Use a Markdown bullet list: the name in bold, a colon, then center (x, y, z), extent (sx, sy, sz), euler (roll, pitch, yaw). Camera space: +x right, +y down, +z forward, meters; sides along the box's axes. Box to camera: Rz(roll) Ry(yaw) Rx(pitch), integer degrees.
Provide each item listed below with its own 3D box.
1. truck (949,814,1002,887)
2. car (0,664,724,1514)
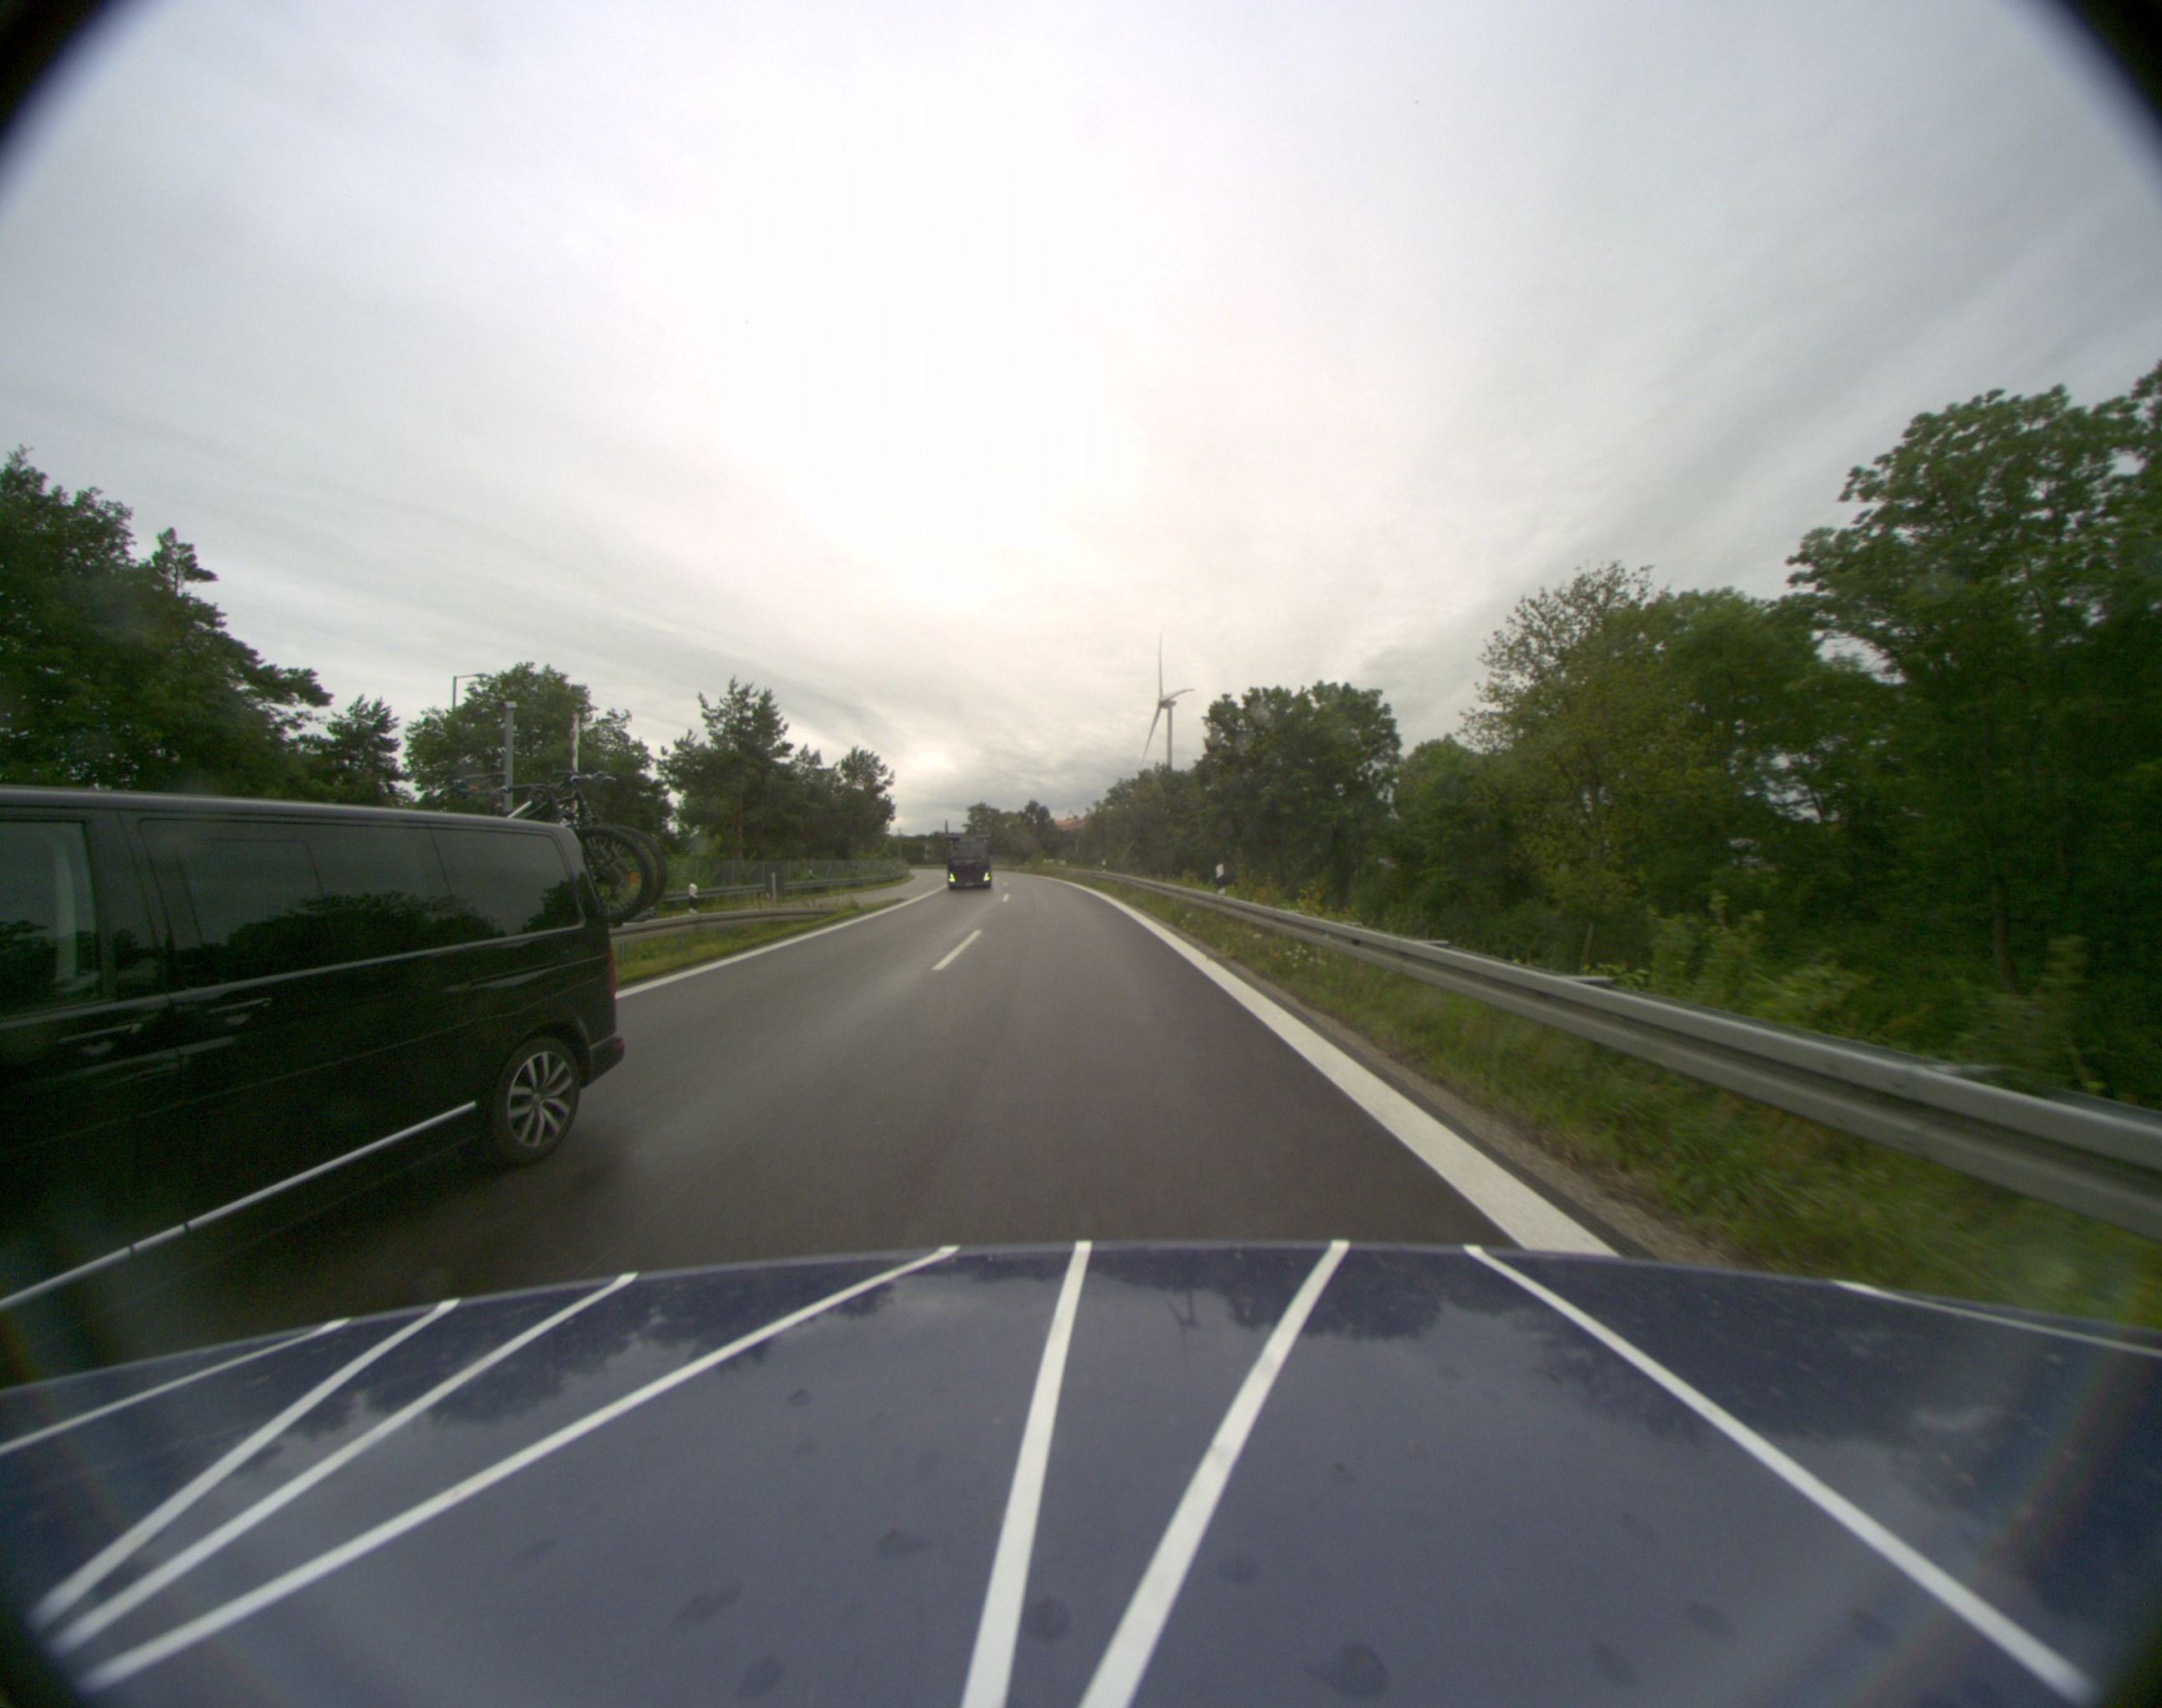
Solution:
- **truck**: center (-6.410, -0.189, 46.692), extent (2.747, 3.944, 9.122), euler (-3, 0, -7)
- **car**: center (-3.939, 0.657, 3.030), extent (2.115, 2.251, 5.896), euler (-3, 0, 0)
